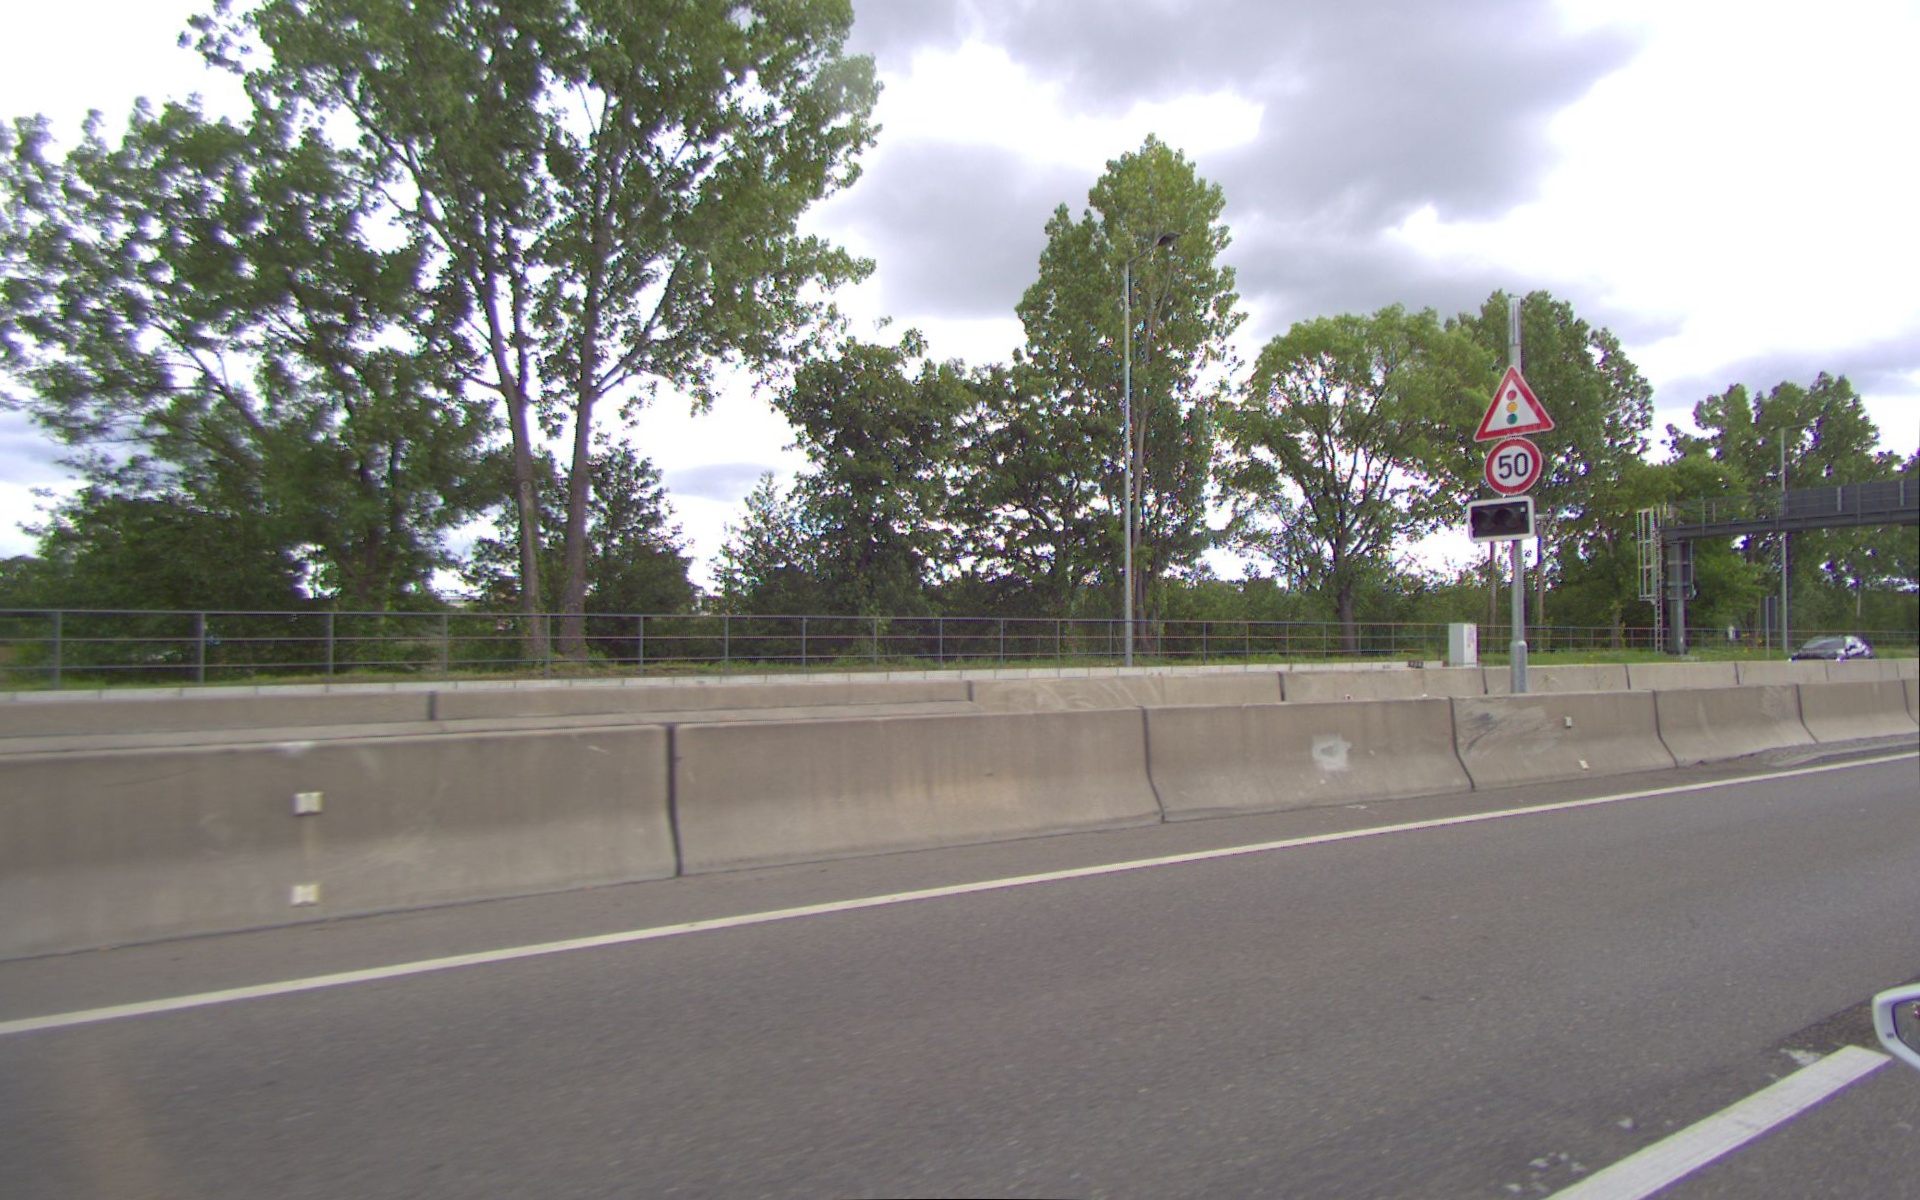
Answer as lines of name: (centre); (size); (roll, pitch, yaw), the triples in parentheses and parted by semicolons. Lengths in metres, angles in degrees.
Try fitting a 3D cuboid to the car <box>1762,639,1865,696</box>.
car: (33.792, 2.633, 39.761); (3.955, 2.040, 1.983); (1, 0, -32)
